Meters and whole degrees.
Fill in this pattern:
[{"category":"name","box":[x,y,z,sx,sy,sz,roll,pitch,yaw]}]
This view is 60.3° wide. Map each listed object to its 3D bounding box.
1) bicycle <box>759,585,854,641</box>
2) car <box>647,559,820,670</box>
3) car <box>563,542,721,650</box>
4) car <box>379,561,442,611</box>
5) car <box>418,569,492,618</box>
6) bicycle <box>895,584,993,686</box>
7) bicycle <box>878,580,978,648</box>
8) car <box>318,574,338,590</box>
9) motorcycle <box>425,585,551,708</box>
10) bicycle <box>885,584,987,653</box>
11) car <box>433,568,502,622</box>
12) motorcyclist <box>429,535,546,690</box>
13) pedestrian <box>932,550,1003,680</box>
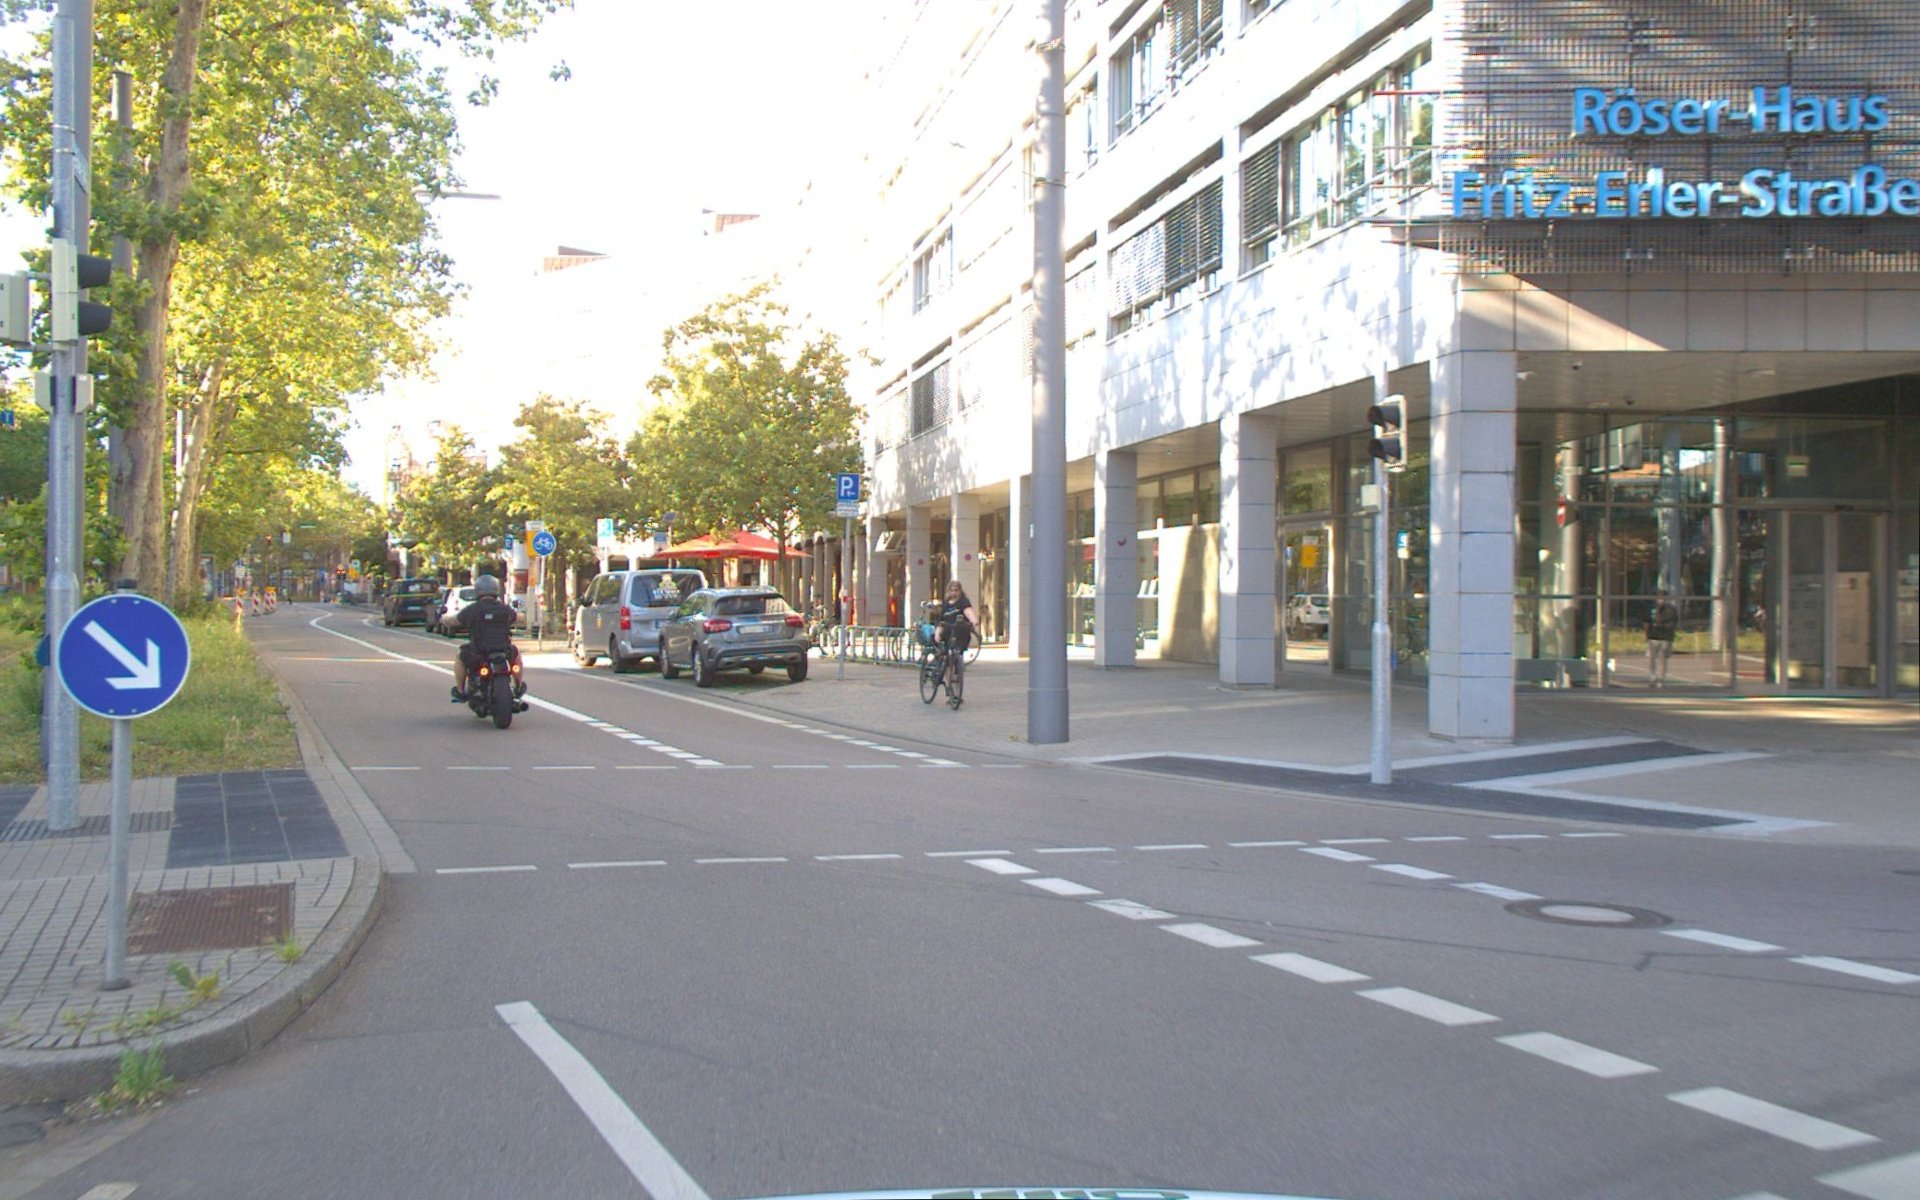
[{"category":"bicycle","box":[-3.194,0.252,34.464,1.846,1.120,0.734,-1,1,-29]},{"category":"car","box":[-3.866,0.174,27.574,1.833,1.600,4.386,-3,2,-21]},{"category":"car","box":[-6.362,-0.122,32.602,1.898,1.875,4.887,-3,2,-24]},{"category":"car","box":[-23.229,-0.619,69.810,2.004,2.011,4.380,-2,2,-25]},{"category":"car","box":[-18.228,-0.254,59.575,1.962,1.657,4.053,-2,2,-25]},{"category":"bicycle","box":[-0.229,0.432,21.657,0.602,1.183,1.836,-4,4,-22]},{"category":"bicycle","box":[-0.595,0.247,30.838,1.805,1.171,0.467,-2,2,-20]},{"category":"car","box":[-72.711,-2.101,190.321,1.963,1.735,3.980,-1,1,-18]},{"category":"motorcycle","box":[-5.119,0.458,17.823,0.992,1.145,2.306,-1,3,-24]},{"category":"bicycle","box":[-0.438,0.325,30.391,1.805,1.171,0.467,-2,2,-20]},{"category":"car","box":[-16.146,-0.196,54.168,1.833,1.666,3.843,-1,1,-21]},{"category":"motorcyclist","box":[-5.081,0.100,17.751,1.009,1.579,1.276,-1,3,-25]},{"category":"pedestrian","box":[0.090,0.180,21.824,0.596,1.638,0.832,-4,4,-23]}]
